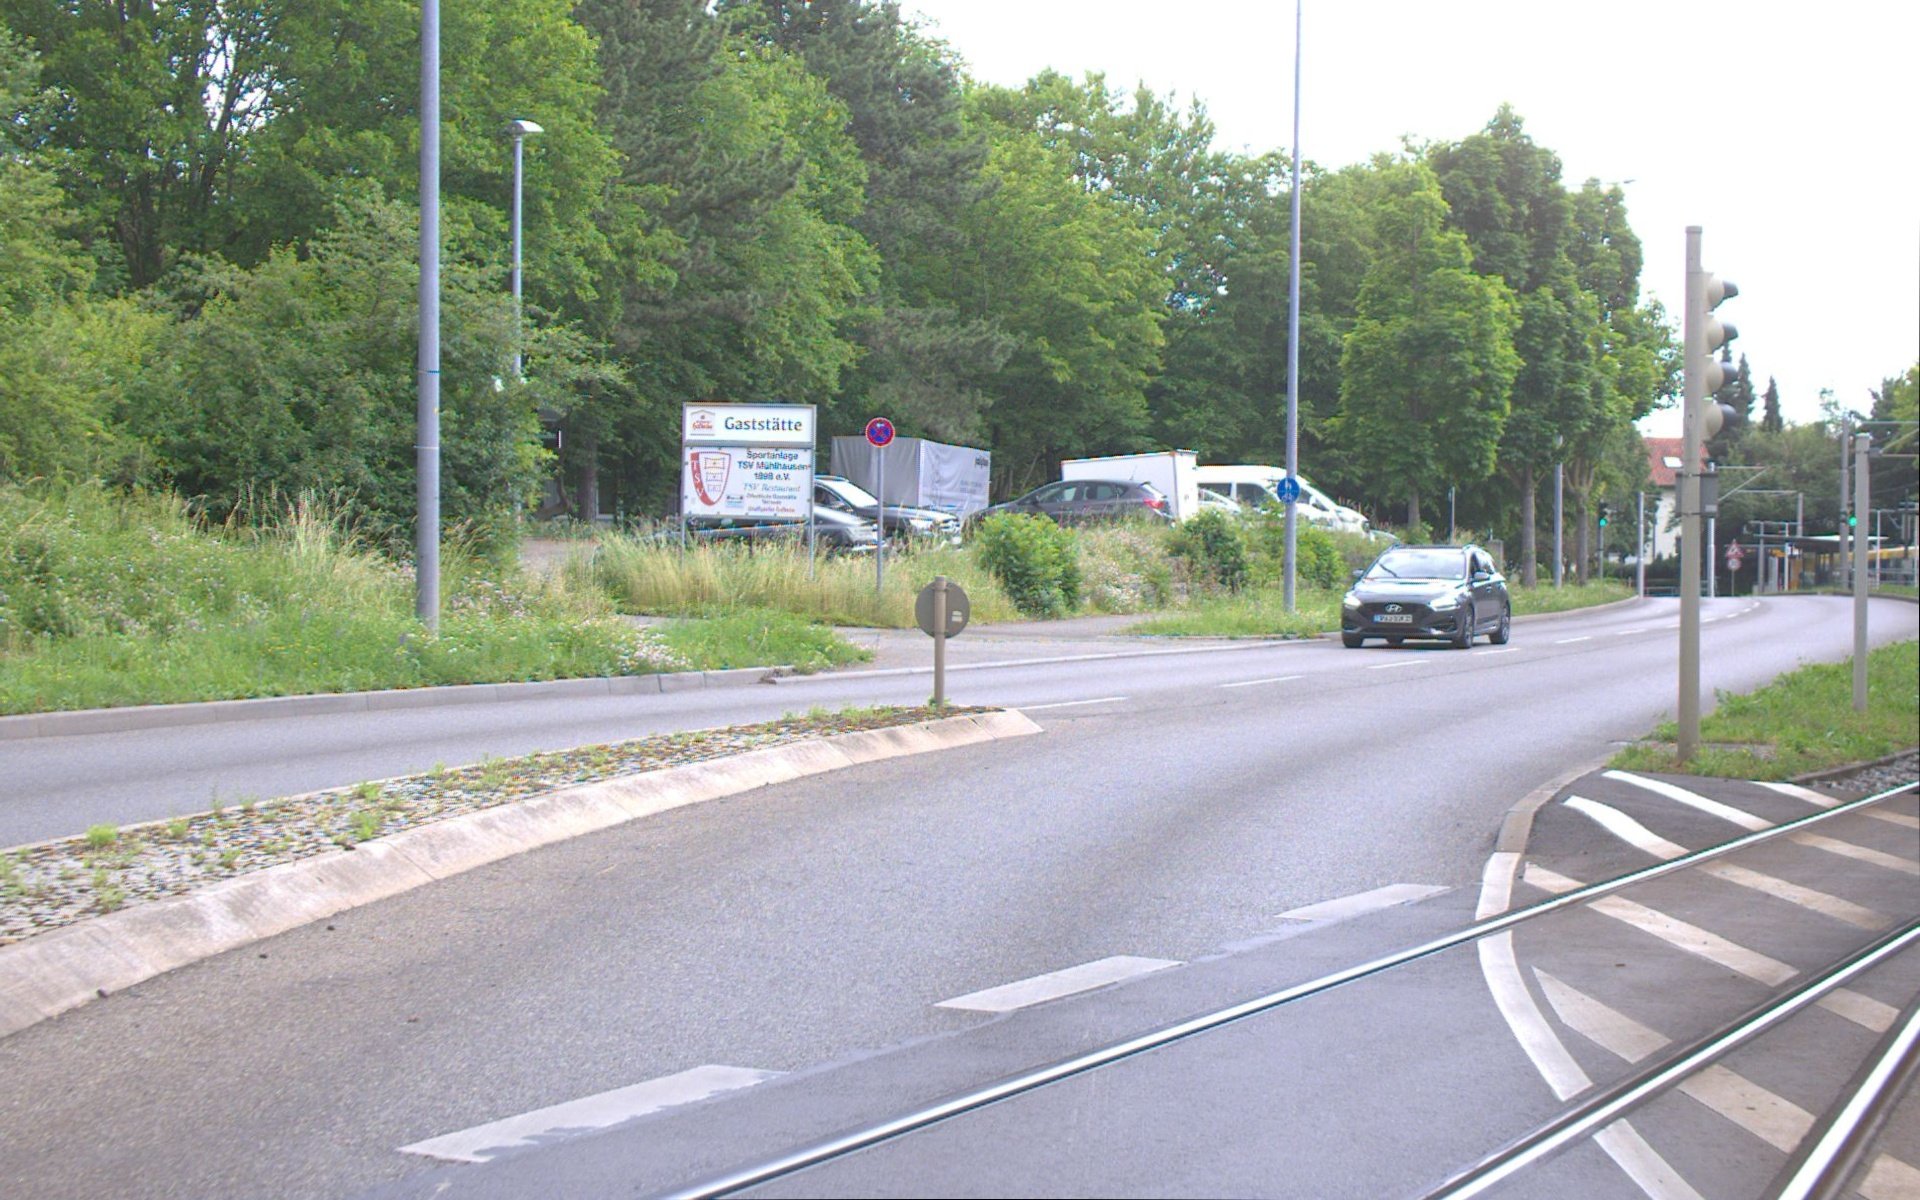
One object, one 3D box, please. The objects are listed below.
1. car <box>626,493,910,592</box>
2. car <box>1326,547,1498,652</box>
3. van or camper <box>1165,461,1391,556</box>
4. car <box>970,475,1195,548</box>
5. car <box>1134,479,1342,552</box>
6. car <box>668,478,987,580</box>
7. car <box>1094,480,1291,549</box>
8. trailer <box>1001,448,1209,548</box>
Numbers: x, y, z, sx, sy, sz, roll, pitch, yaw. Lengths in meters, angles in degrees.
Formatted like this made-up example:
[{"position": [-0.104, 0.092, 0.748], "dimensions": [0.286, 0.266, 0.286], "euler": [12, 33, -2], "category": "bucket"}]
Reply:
[{"position": [-2.971, -0.902, 53.473], "dimensions": [3.957, 1.392, 1.999], "euler": [2, 1, 15], "category": "car"}, {"position": [6.551, -0.037, 49.457], "dimensions": [1.995, 1.433, 4.423], "euler": [0, 1, 14], "category": "car"}, {"position": [8.027, -2.311, 86.745], "dimensions": [5.337, 2.195, 1.998], "euler": [2, 2, 17], "category": "van or camper"}, {"position": [2.511, -1.788, 70.183], "dimensions": [4.314, 1.444, 1.835], "euler": [0, 1, 14], "category": "car"}, {"position": [6.827, -2.077, 84.473], "dimensions": [4.648, 1.650, 1.997], "euler": [2, 1, 24], "category": "car"}, {"position": [-2.232, -1.208, 58.409], "dimensions": [4.930, 1.579, 2.205], "euler": [2, 1, 16], "category": "car"}, {"position": [5.537, -2.040, 81.823], "dimensions": [4.313, 1.502, 1.998], "euler": [2, 1, 16], "category": "car"}, {"position": [3.095, -2.170, 73.187], "dimensions": [3.991, 2.007, 1.906], "euler": [2, 1, 20], "category": "trailer"}]
